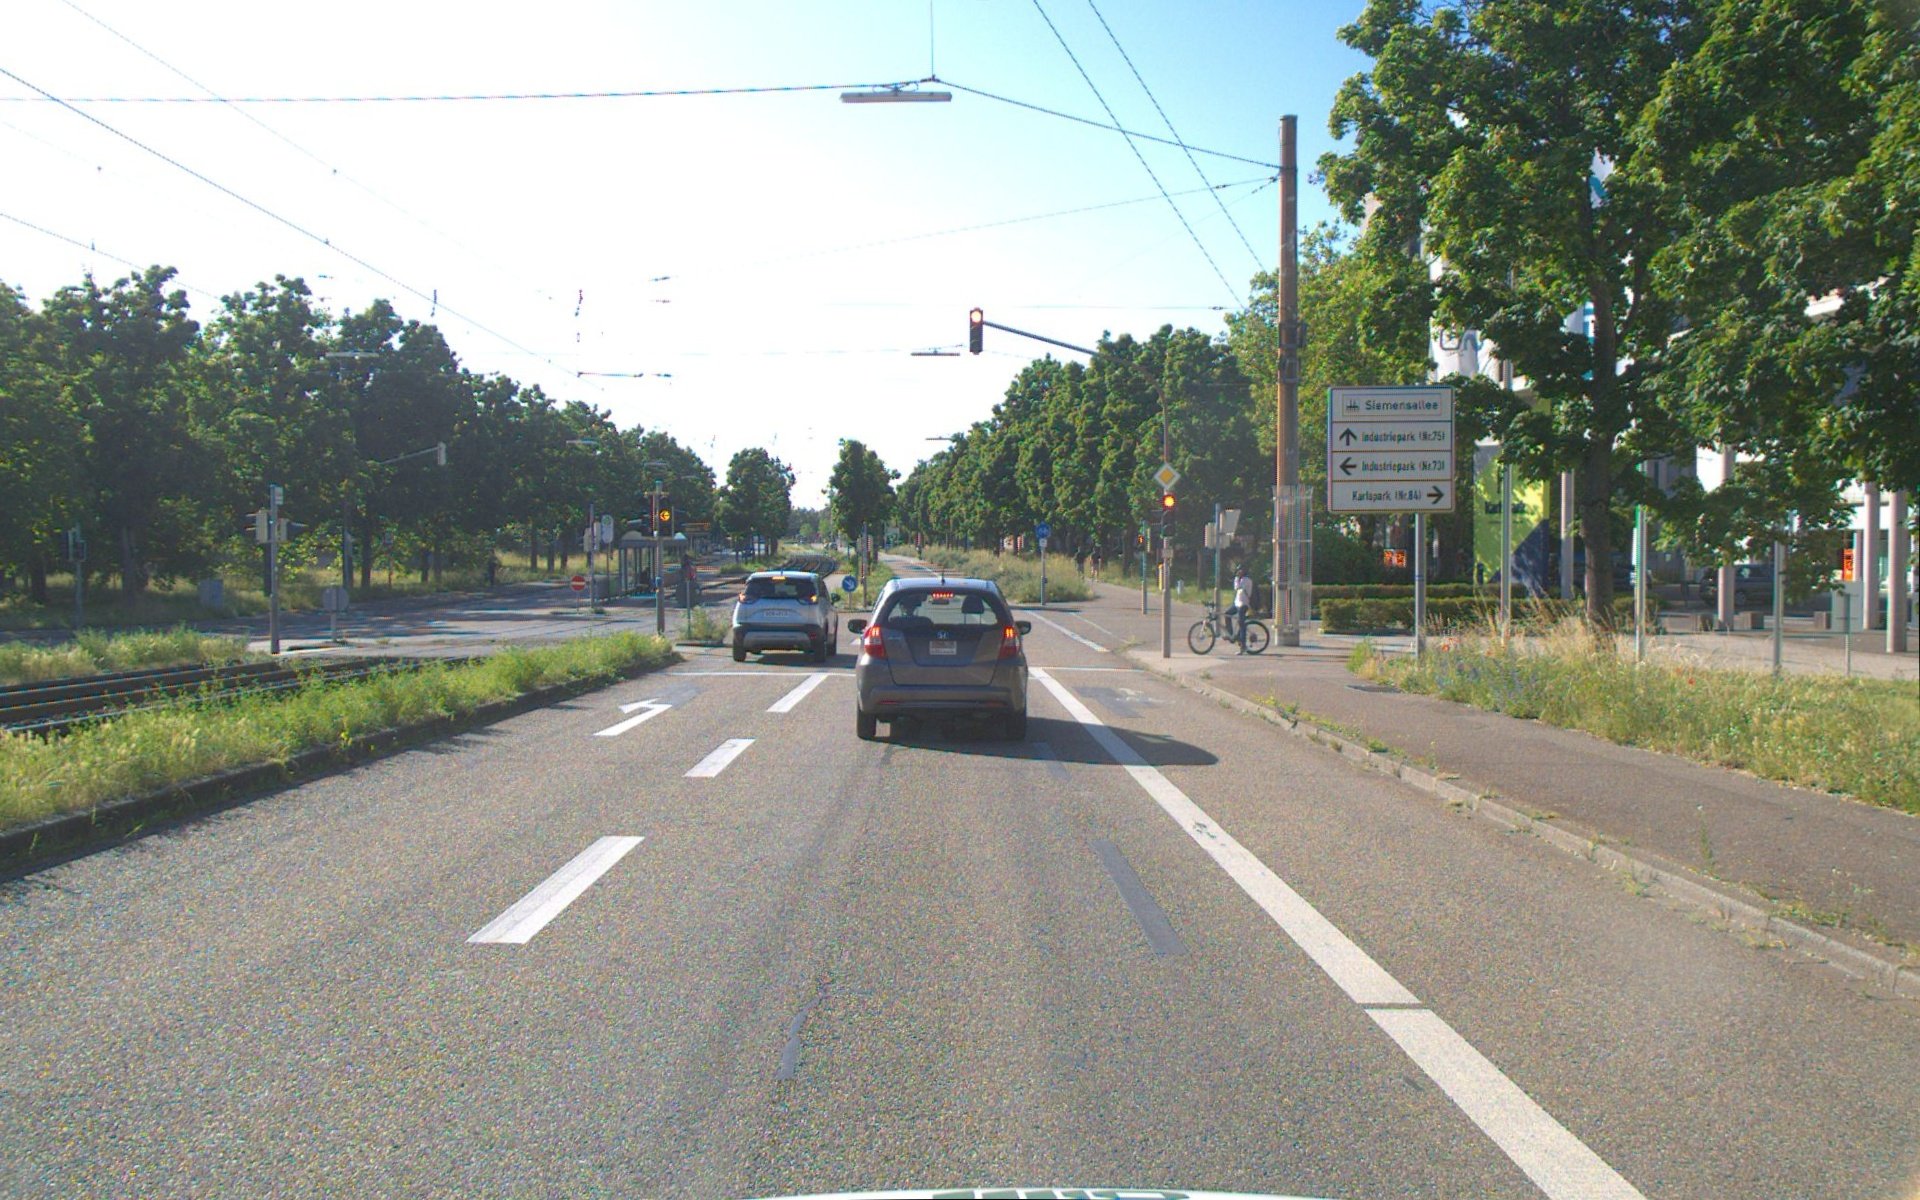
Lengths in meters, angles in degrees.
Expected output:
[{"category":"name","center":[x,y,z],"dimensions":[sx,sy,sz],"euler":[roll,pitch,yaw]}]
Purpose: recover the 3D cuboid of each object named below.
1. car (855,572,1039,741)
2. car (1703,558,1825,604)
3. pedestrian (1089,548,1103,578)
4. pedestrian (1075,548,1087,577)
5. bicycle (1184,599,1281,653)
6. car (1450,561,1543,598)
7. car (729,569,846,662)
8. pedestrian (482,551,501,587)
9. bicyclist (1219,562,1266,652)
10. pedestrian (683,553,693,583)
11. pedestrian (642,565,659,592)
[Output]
[{"category":"car","center":[-0.114,0.492,17.218],"dimensions":[1.672,1.535,4.000],"euler":[1,1,0]},{"category":"car","center":[31.209,-0.726,64.254],"dimensions":[3.914,1.750,1.896],"euler":[0,1,-10]},{"category":"pedestrian","center":[7.651,-2.064,92.765],"dimensions":[0.664,1.638,0.720],"euler":[1,0,-3]},{"category":"pedestrian","center":[6.762,-2.114,92.724],"dimensions":[0.556,1.624,0.665],"euler":[1,0,-4]},{"category":"bicycle","center":[5.496,0.522,33.377],"dimensions":[1.879,1.015,0.765],"euler":[-2,0,10]},{"category":"car","center":[26.370,-1.019,81.344],"dimensions":[3.918,1.788,1.994],"euler":[0,1,-13]},{"category":"car","center":[-3.181,0.249,31.188],"dimensions":[1.813,1.634,4.254],"euler":[0,1,-1]},{"category":"pedestrian","center":[-27.031,-1.801,95.431],"dimensions":[0.823,2.049,0.863],"euler":[0,1,-2]},{"category":"bicyclist","center":[5.692,0.141,33.338],"dimensions":[0.890,1.775,0.765],"euler":[-1,0,10]},{"category":"pedestrian","center":[-15.456,-1.798,93.982],"dimensions":[0.493,1.705,0.387],"euler":[0,1,-12]},{"category":"pedestrian","center":[-14.857,-1.040,79.415],"dimensions":[0.706,1.267,0.710],"euler":[-1,1,-2]}]
